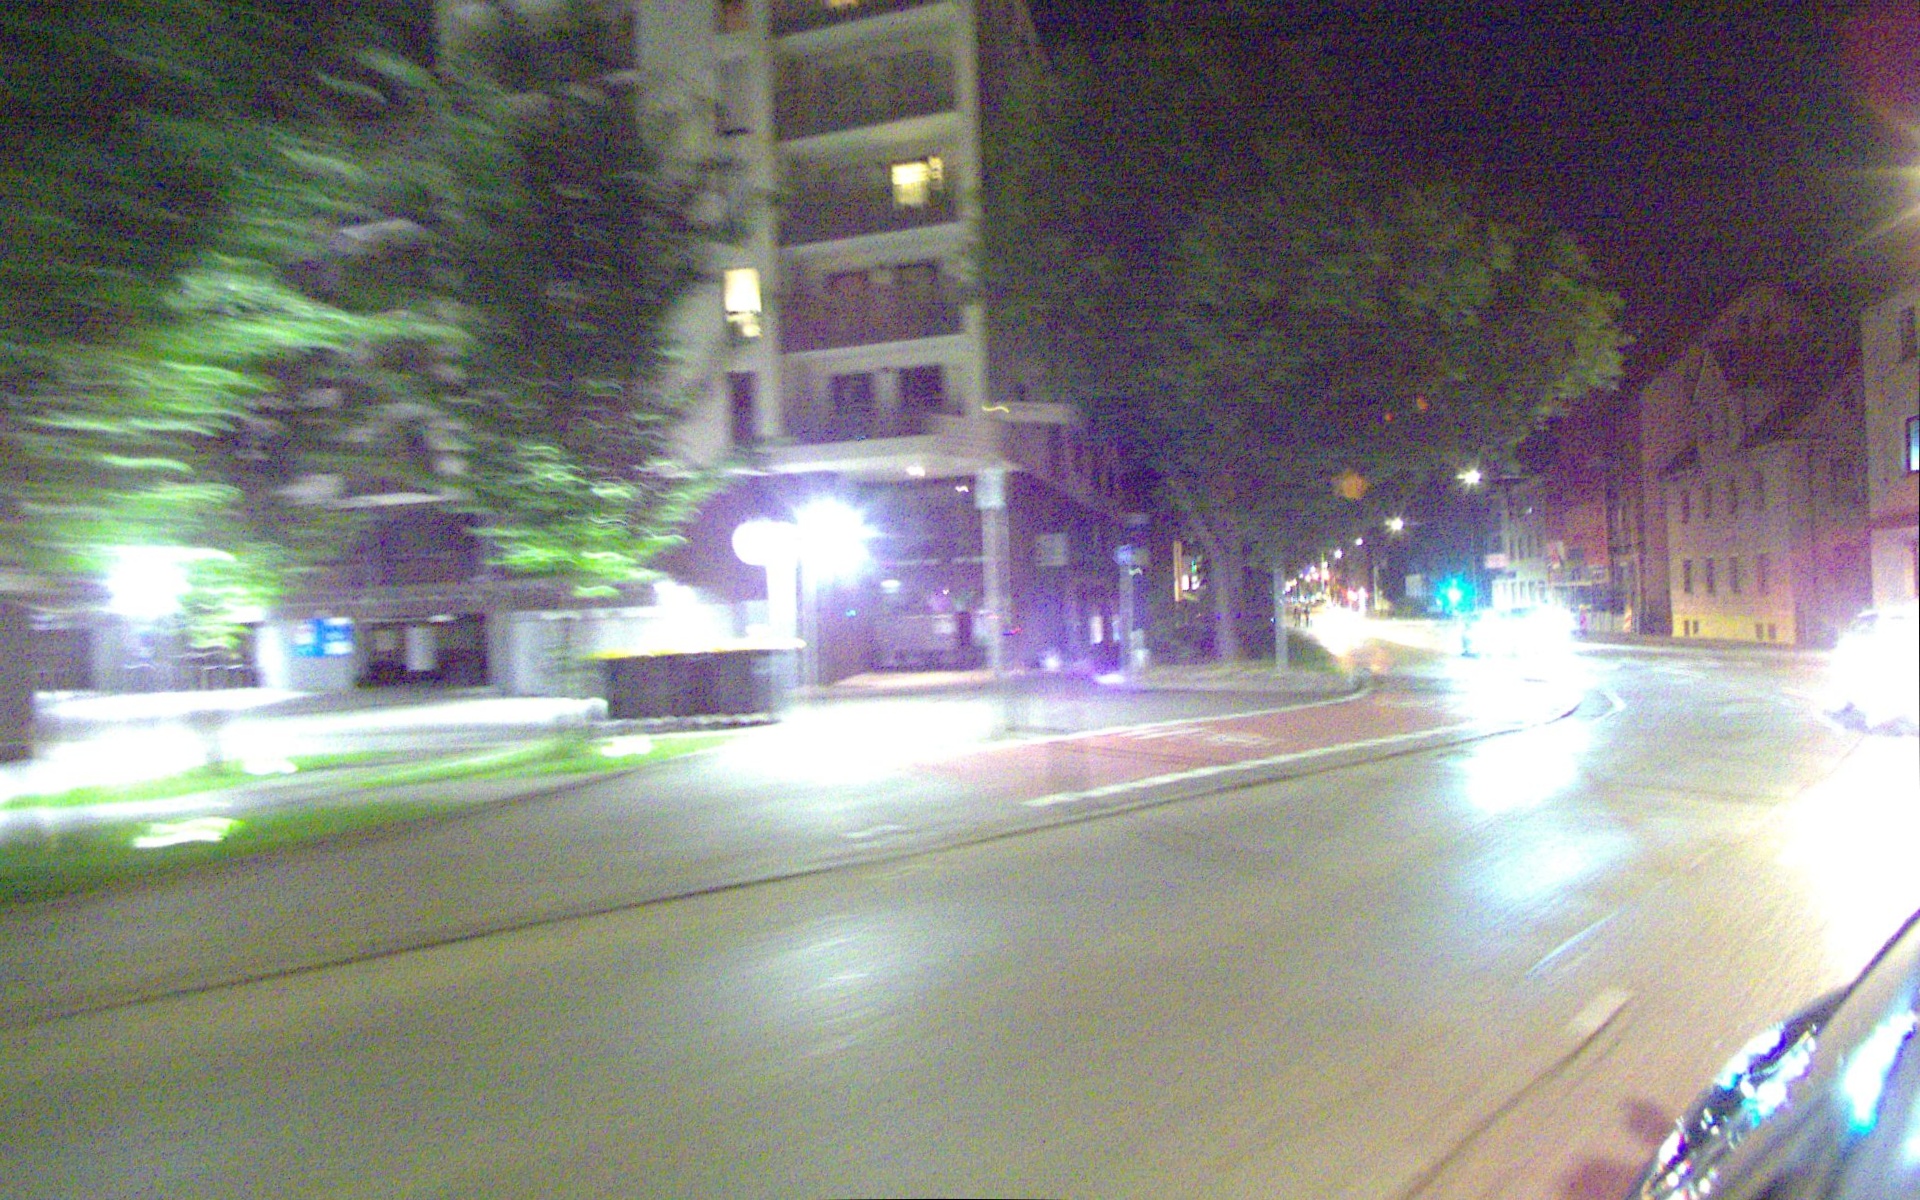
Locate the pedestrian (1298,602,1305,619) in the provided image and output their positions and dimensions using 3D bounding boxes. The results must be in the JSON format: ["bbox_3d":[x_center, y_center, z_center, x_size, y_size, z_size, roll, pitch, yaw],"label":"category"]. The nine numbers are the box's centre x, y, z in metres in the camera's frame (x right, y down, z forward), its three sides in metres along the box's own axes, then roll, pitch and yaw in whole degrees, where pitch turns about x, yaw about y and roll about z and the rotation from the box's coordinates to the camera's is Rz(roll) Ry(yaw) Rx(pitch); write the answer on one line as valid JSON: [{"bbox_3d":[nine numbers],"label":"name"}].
[{"bbox_3d":[30.482,0.920,90.407,0.566,1.553,0.630,-1,-1,17],"label":"pedestrian"}]

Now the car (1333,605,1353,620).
[{"bbox_3d":[35.893,1.190,94.789,1.599,1.282,3.604,-2,-1,19],"label":"car"}]

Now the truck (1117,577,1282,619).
[{"bbox_3d":[24.972,-0.167,106.209,16.602,4.034,3.115,-1,0,17],"label":"truck"}]

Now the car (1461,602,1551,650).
[{"bbox_3d":[18.381,0.836,34.277,1.706,1.448,4.474,-2,-1,17],"label":"car"}]

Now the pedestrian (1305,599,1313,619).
[{"bbox_3d":[30.849,0.796,89.486,0.615,1.834,0.755,-1,-1,17],"label":"pedestrian"}]

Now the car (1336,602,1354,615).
[{"bbox_3d":[48.190,1.058,126.760,1.974,1.656,3.974,-1,-1,19],"label":"car"}]

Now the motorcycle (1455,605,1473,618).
[{"bbox_3d":[47.355,1.084,95.104,0.562,1.195,2.032,-1,-1,-1],"label":"motorcycle"}]

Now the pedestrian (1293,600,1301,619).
[{"bbox_3d":[29.723,0.871,89.298,0.614,1.660,0.675,-1,-1,17],"label":"pedestrian"}]

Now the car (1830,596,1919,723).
[{"bbox_3d":[12.494,0.686,12.853,1.623,1.457,3.794,-1,-1,33],"label":"car"}]

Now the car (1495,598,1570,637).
[{"bbox_3d":[23.351,0.692,41.428,1.705,1.481,3.980,-1,0,16],"label":"car"}]
